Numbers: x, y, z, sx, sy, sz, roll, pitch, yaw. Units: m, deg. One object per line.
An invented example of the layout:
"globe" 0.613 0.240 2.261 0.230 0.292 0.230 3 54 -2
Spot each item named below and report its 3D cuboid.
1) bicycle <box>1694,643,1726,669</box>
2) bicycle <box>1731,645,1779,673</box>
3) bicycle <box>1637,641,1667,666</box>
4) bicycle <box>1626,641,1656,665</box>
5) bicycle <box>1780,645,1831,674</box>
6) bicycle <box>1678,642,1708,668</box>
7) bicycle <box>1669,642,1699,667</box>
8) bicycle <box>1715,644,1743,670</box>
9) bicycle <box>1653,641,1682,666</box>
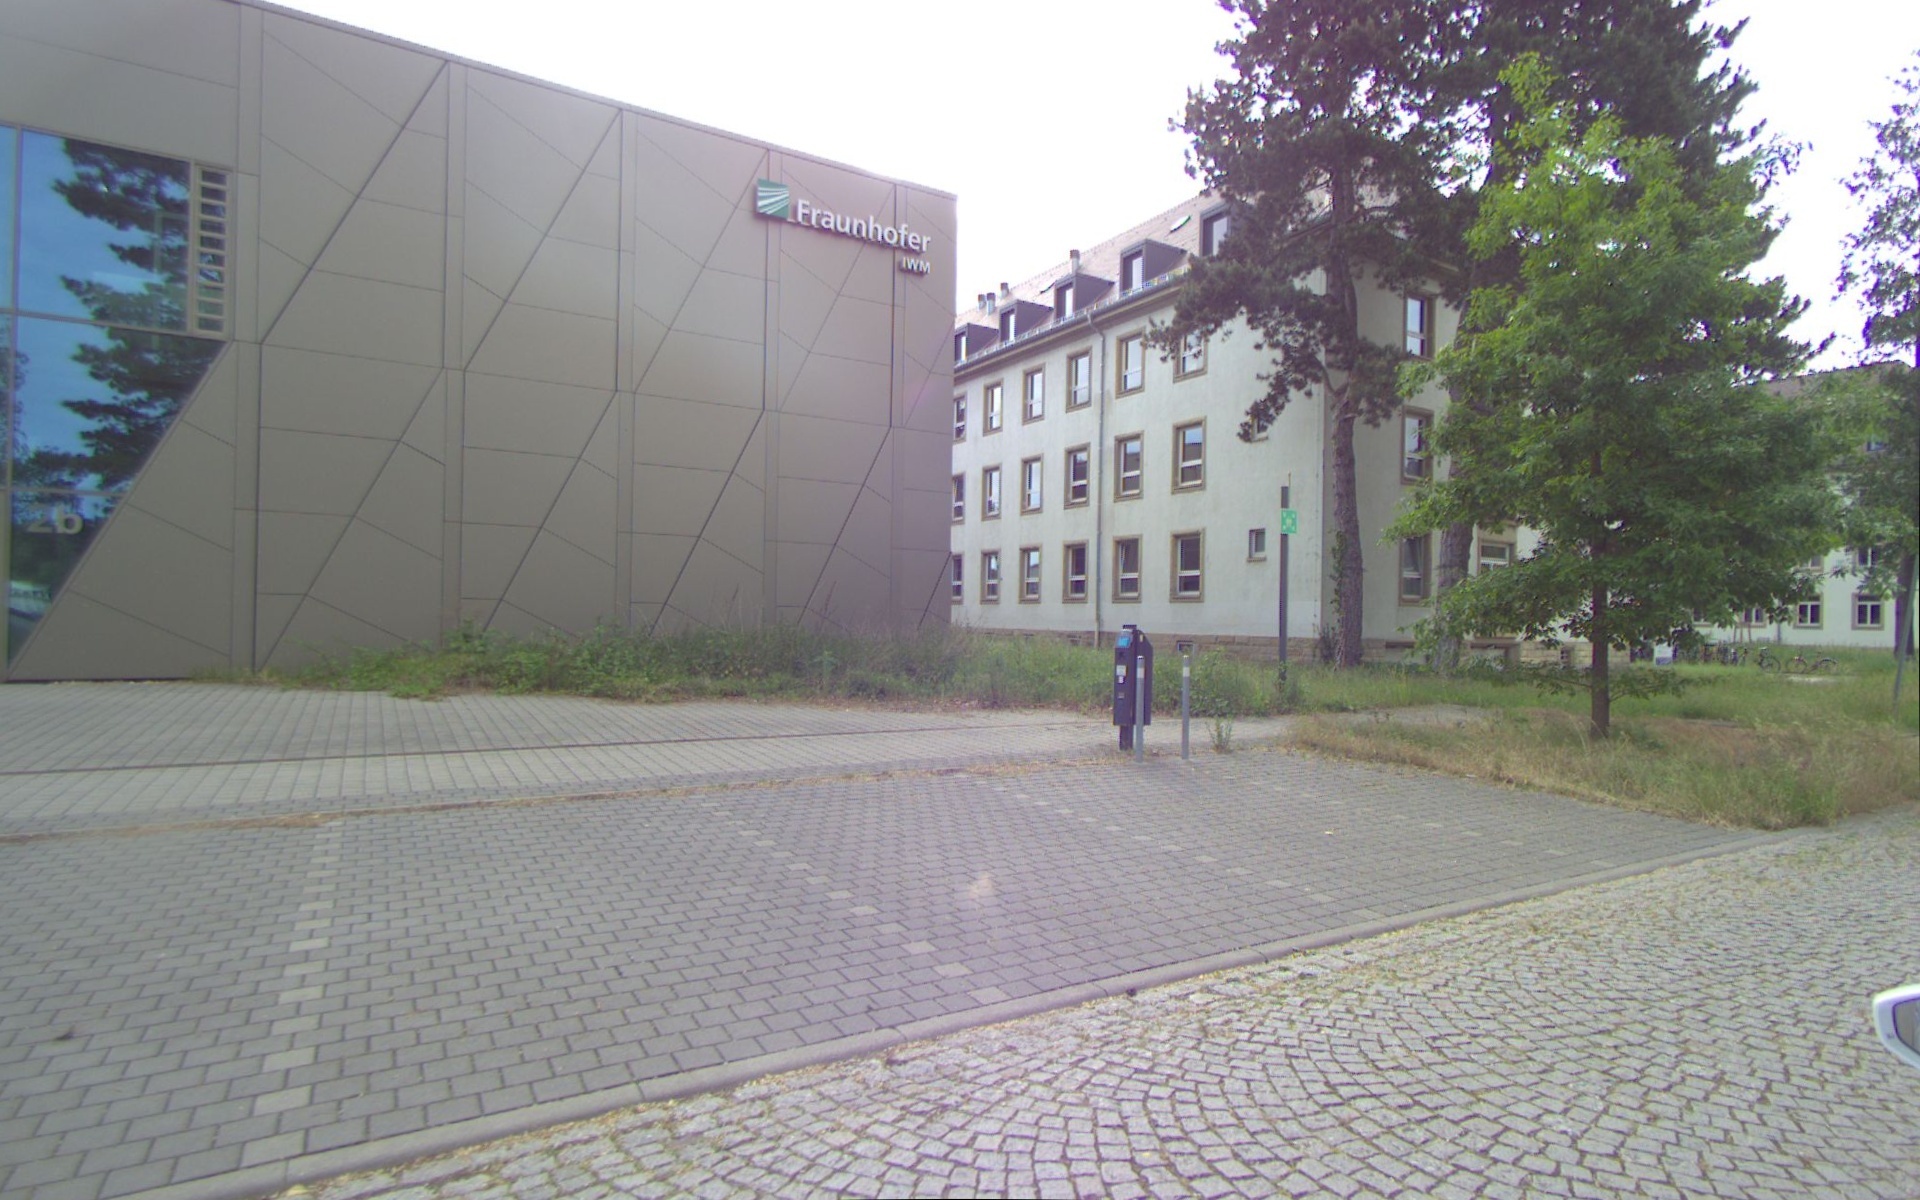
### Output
"bicycle" 32.665 2.438 43.737 1.566 1.093 0.512 2 -2 -28
"bicycle" 32.632 2.404 41.258 0.510 1.093 1.456 2 -2 -32
"bicycle" 31.523 2.429 45.750 1.567 1.093 0.512 2 -2 -31
"bicycle" 31.289 2.423 46.135 1.567 1.093 0.512 2 -2 -31
"bicycle" 33.597 2.364 39.936 0.510 1.079 1.456 2 -2 -32
"bicycle" 32.389 2.428 44.392 1.567 1.093 0.512 2 -2 -31
"bicycle" 32.211 2.421 44.706 1.567 1.093 0.512 2 -2 -31
"bicycle" 33.081 2.453 43.199 1.569 1.093 0.511 2 -2 -34
"bicycle" 31.854 2.419 45.224 1.567 1.093 0.512 2 -2 -31
